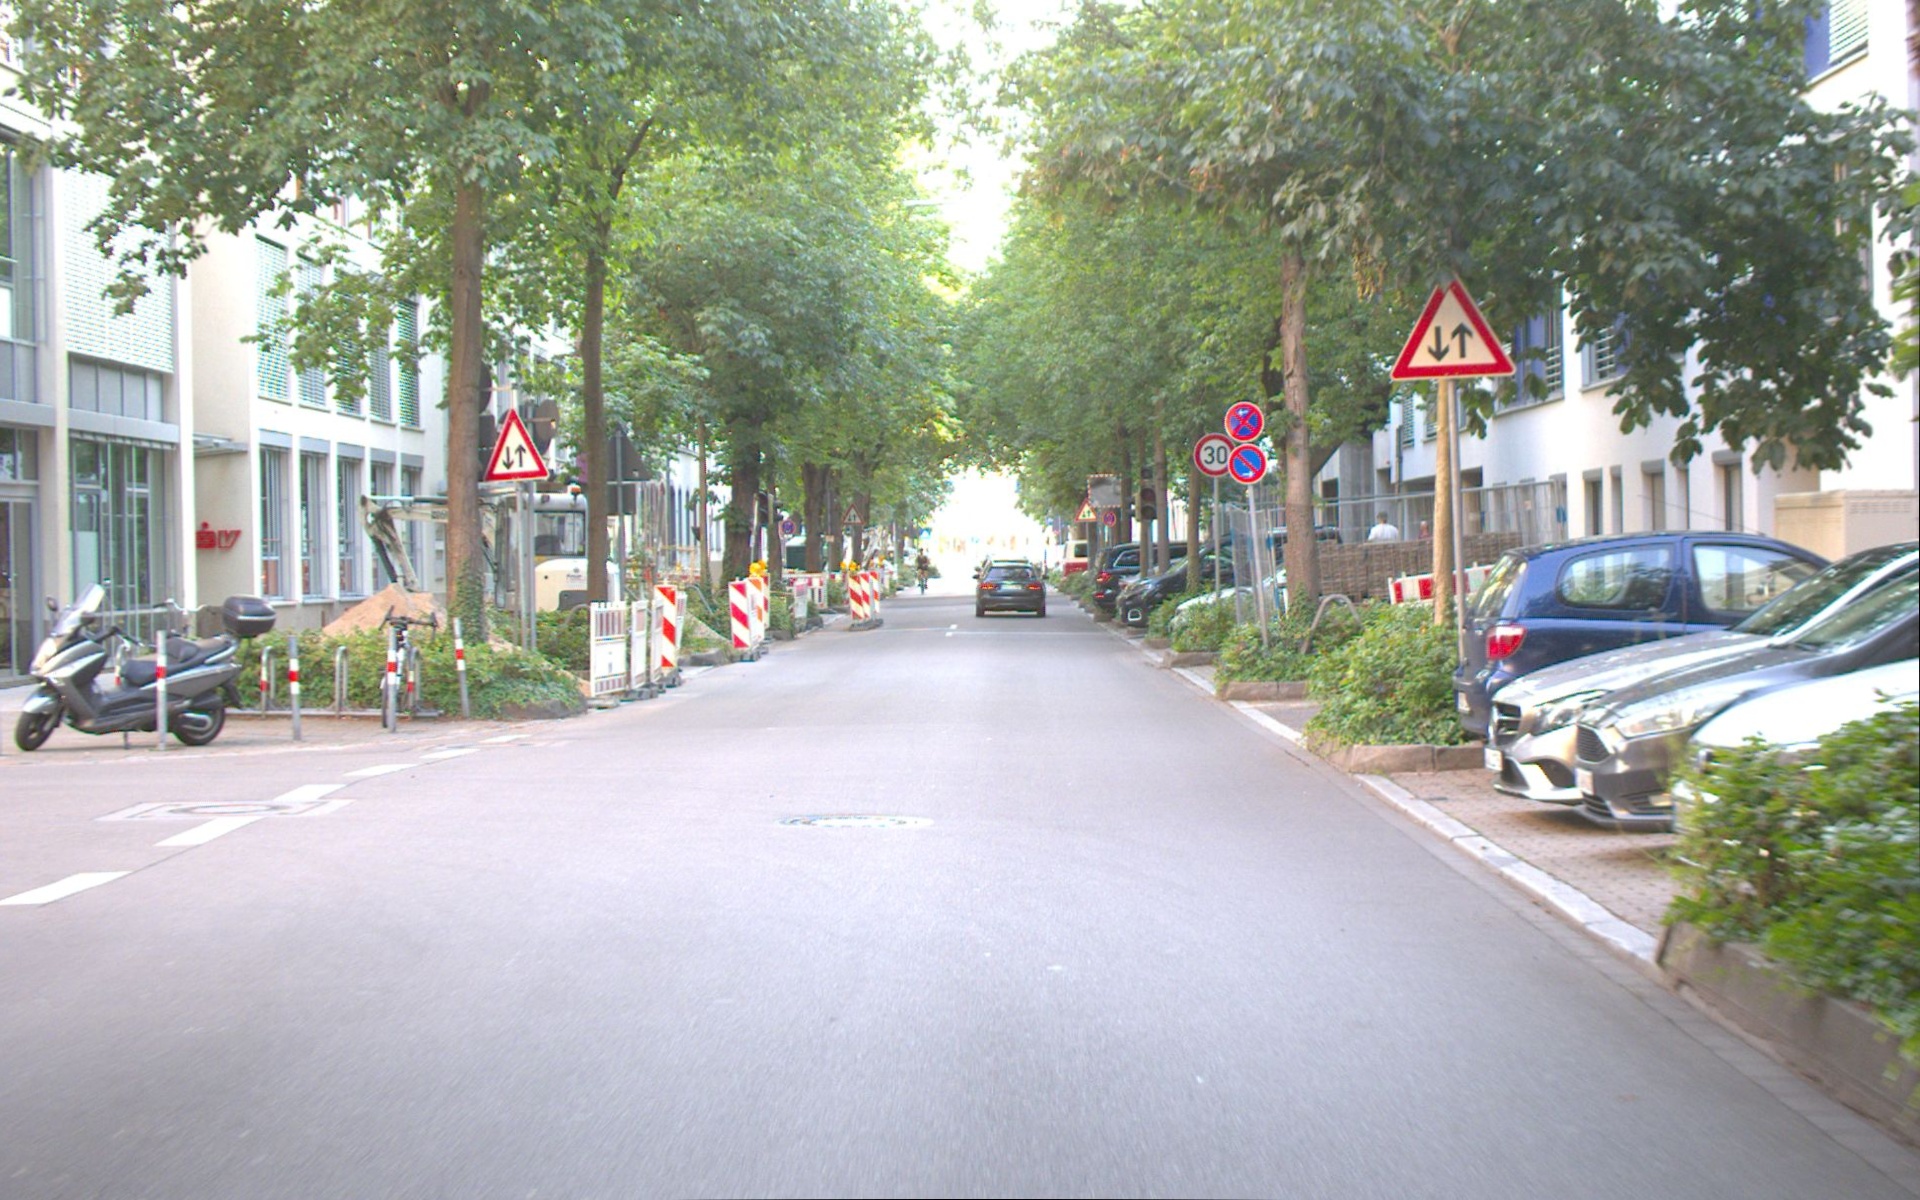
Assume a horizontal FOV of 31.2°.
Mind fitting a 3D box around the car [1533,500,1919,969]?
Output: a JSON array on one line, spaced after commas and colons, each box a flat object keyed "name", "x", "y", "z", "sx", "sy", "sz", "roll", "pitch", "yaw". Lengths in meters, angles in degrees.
[{"name": "car", "x": 4.822, "y": 0.452, "z": 13.506, "sx": 4.795, "sy": 1.698, "sz": 1.836, "roll": -1, "pitch": 1, "yaw": -1}]

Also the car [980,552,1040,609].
[{"name": "car", "x": 1.286, "y": -0.513, "z": 89.084, "sx": 1.500, "sy": 1.411, "sz": 3.713, "roll": -1, "pitch": 1, "yaw": 1}]

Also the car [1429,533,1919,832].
[{"name": "car", "x": 4.899, "y": 0.389, "z": 18.741, "sx": 4.278, "sy": 1.503, "sz": 1.872, "roll": -1, "pitch": 1, "yaw": -7}]

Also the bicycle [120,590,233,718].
[{"name": "bicycle", "x": -7.362, "y": 0.494, "z": 32.372, "sx": 0.601, "sy": 1.114, "sz": 1.800, "roll": -1, "pitch": 2, "yaw": 1}]

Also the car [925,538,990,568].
[{"name": "car", "x": -0.162, "y": -3.017, "z": 220.730, "sx": 3.986, "sy": 1.908, "sz": 1.778, "roll": -1, "pitch": 1, "yaw": -7}]

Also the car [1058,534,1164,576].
[{"name": "car", "x": 5.913, "y": -1.785, "z": 134.976, "sx": 3.986, "sy": 1.592, "sz": 2.000, "roll": -1, "pitch": 1, "yaw": -2}]

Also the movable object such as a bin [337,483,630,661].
[{"name": "movable object such as a bin", "x": -6.515, "y": -0.391, "z": 47.407, "sx": 3.665, "sy": 2.325, "sz": 2.583, "roll": -1, "pitch": 1, "yaw": -1}]

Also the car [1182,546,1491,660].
[{"name": "car", "x": 5.537, "y": 0.030, "z": 50.903, "sx": 4.437, "sy": 1.586, "sz": 1.629, "roll": -1, "pitch": 1, "yaw": 3}]

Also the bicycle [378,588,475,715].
[{"name": "bicycle", "x": -5.083, "y": 0.476, "z": 32.818, "sx": 0.601, "sy": 1.114, "sz": 1.800, "roll": -1, "pitch": 2, "yaw": 1}]

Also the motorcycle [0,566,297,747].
[{"name": "motorcycle", "x": -6.845, "y": 0.449, "z": 28.906, "sx": 2.372, "sy": 1.436, "sz": 0.801, "roll": -2, "pitch": 1, "yaw": -39}]

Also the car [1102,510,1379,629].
[{"name": "car", "x": 5.158, "y": -0.567, "z": 63.679, "sx": 4.972, "sy": 2.080, "sz": 1.738, "roll": -1, "pitch": 1, "yaw": 1}]

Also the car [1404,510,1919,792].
[{"name": "car", "x": 4.550, "y": 0.280, "z": 21.267, "sx": 3.350, "sy": 1.520, "sz": 1.746, "roll": -3, "pitch": 1, "yaw": 2}]

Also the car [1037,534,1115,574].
[{"name": "car", "x": 6.039, "y": -2.412, "z": 179.065, "sx": 3.987, "sy": 2.007, "sz": 2.000, "roll": -1, "pitch": 1, "yaw": 3}]

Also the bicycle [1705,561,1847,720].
[{"name": "bicycle", "x": 6.550, "y": 0.308, "z": 27.664, "sx": 0.726, "sy": 1.168, "sz": 1.500, "roll": -5, "pitch": 1, "yaw": 2}]

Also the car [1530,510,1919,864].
[{"name": "car", "x": 4.898, "y": 0.355, "z": 16.243, "sx": 4.067, "sy": 1.558, "sz": 1.854, "roll": -1, "pitch": 1, "yaw": -1}]
